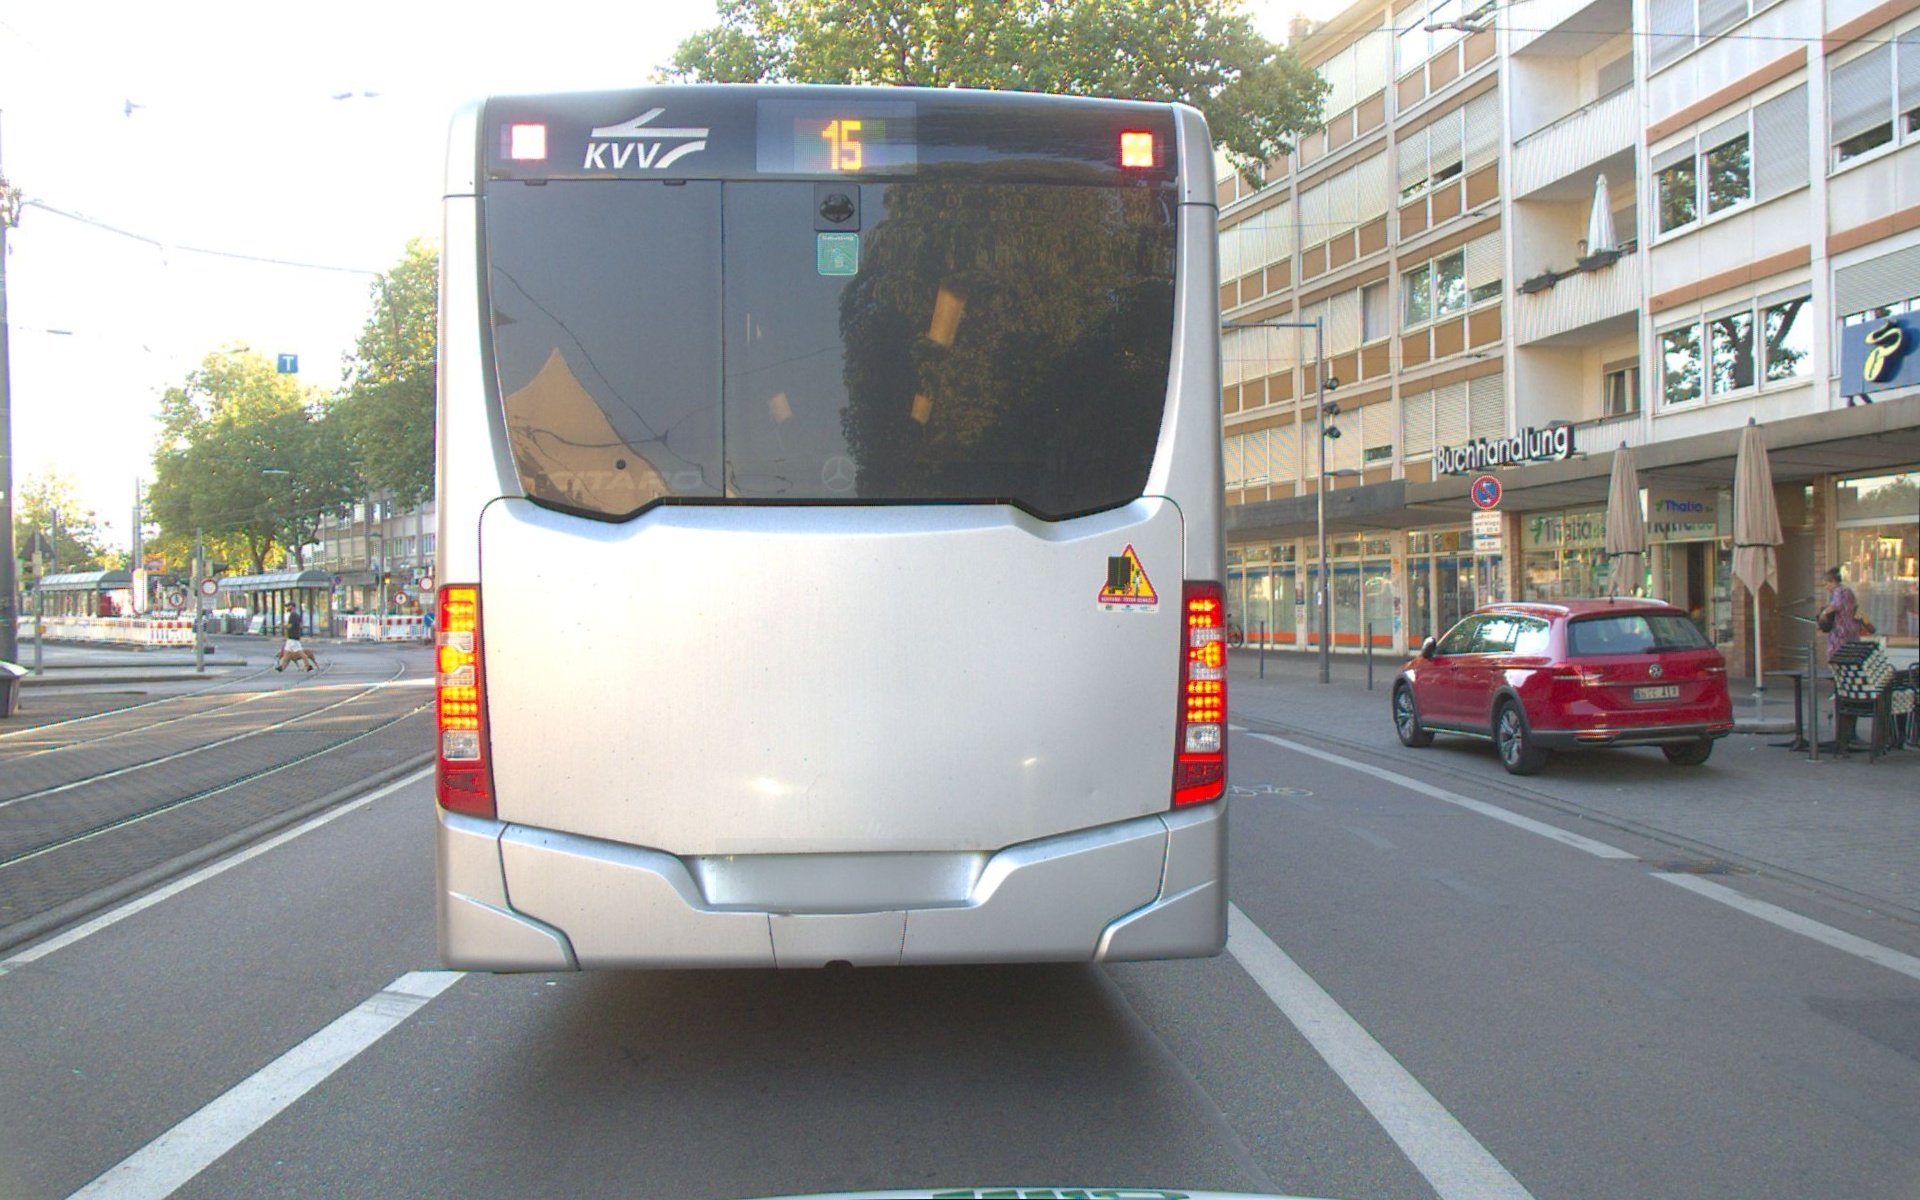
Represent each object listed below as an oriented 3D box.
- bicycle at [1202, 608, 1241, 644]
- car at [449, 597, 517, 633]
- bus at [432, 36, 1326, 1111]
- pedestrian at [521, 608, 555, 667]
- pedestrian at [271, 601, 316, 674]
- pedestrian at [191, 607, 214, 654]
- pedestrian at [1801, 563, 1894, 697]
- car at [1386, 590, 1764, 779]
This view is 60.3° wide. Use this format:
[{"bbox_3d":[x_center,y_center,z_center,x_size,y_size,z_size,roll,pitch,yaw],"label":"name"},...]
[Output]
[{"bbox_3d":[7.213,0.708,45.701,0.406,0.961,1.431,-1,0,-20],"label":"bicycle"},{"bbox_3d":[-25.328,0.795,87.812,1.982,1.823,3.940,1,-1,-41],"label":"car"},{"bbox_3d":[-0.430,-0.062,9.801,2.578,3.081,9.992,0,0,-3],"label":"bus"},{"bbox_3d":[-10.572,0.934,41.449,0.754,1.475,0.636,1,-1,-10],"label":"pedestrian"},{"bbox_3d":[-16.319,0.913,40.506,0.878,1.758,0.517,-1,0,1],"label":"pedestrian"},{"bbox_3d":[-27.672,1.123,60.392,0.653,1.685,0.436,-1,-1,-44],"label":"pedestrian"},{"bbox_3d":[11.139,0.366,20.778,0.637,1.620,0.788,-3,0,-6],"label":"pedestrian"},{"bbox_3d":[5.703,0.703,15.970,1.735,1.508,4.299,-2,0,-4],"label":"car"}]
